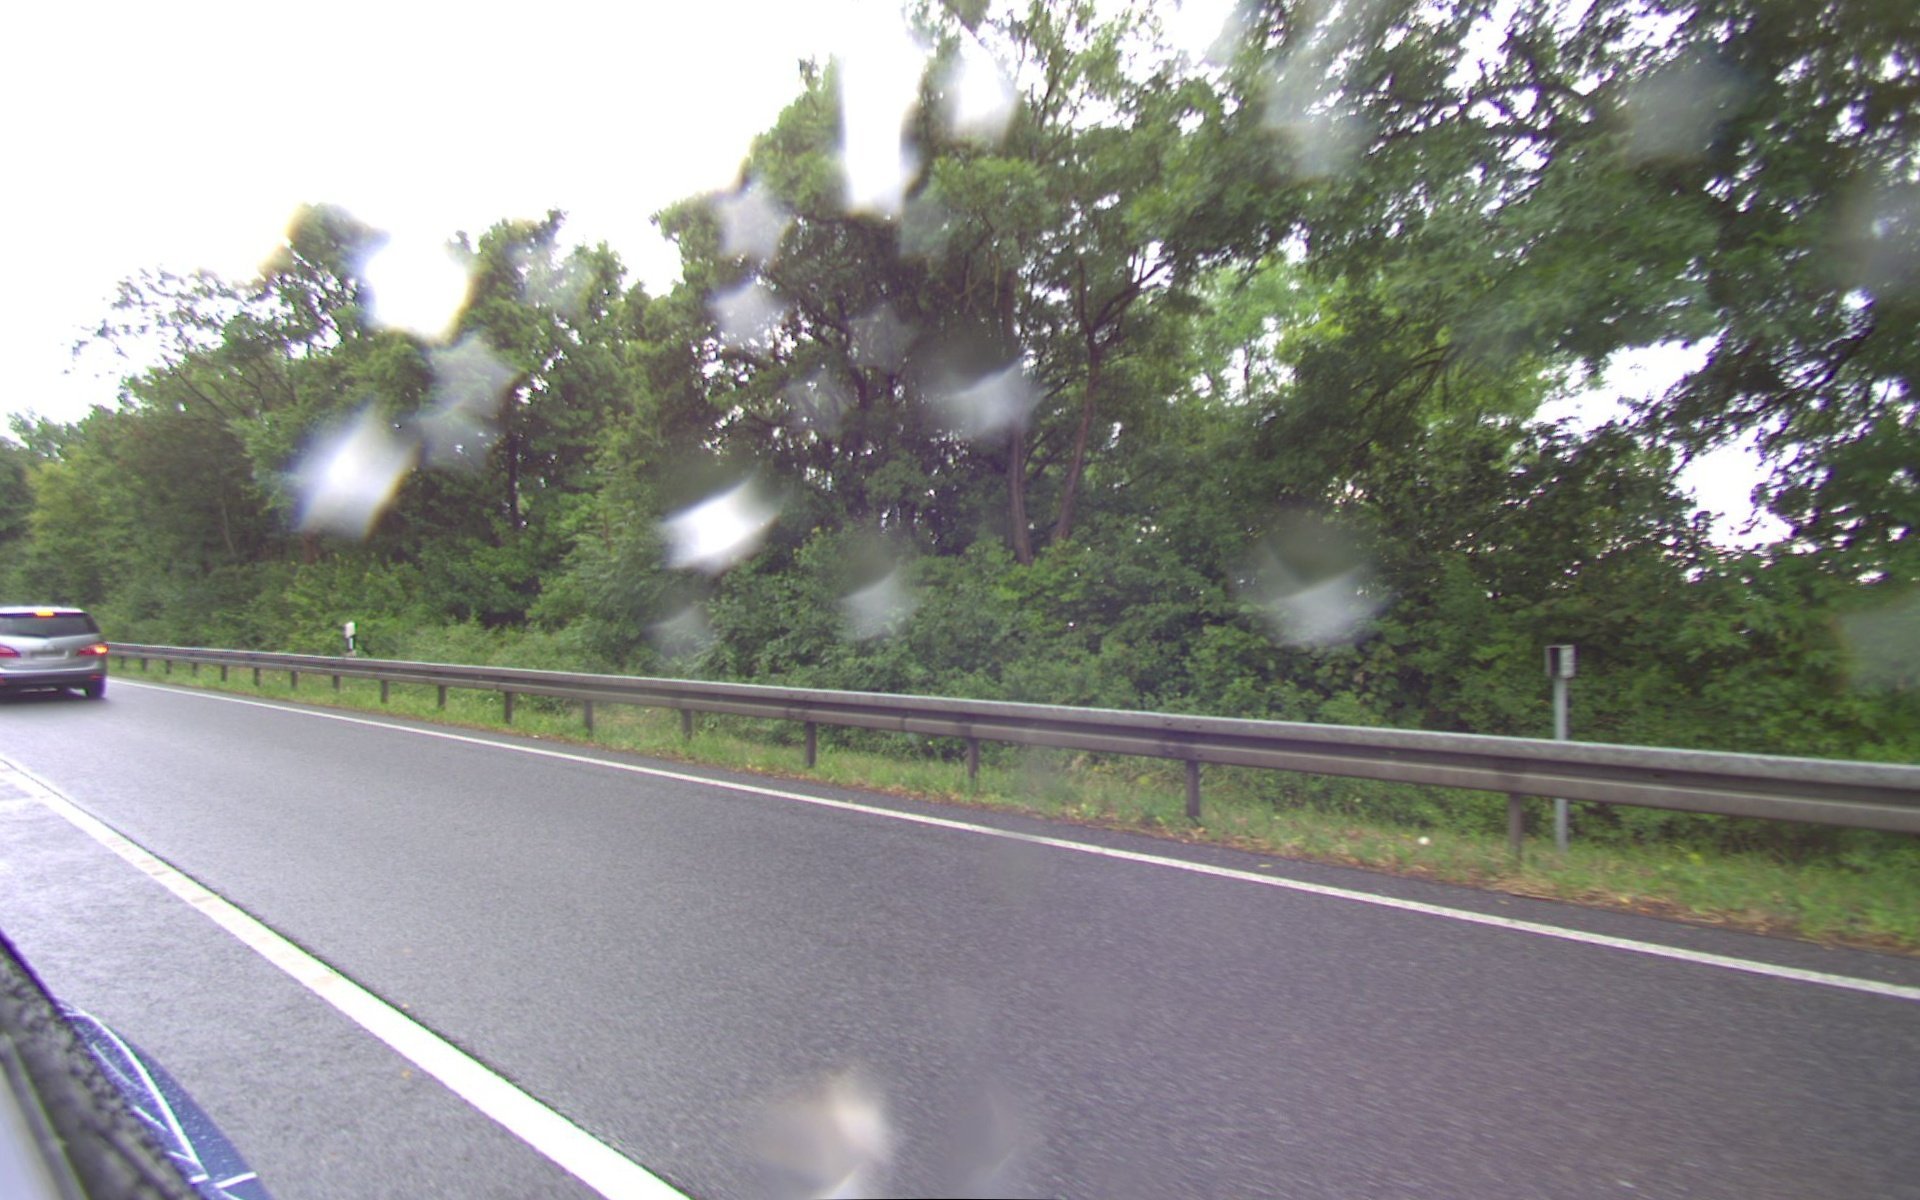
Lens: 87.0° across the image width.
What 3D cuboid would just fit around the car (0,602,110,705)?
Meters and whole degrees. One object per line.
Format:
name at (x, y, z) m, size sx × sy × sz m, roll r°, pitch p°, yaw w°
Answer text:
car at (-16.750, 0.896, 18.025) m, size 4.078 × 1.672 × 1.778 m, roll -1°, pitch -1°, yaw 39°
